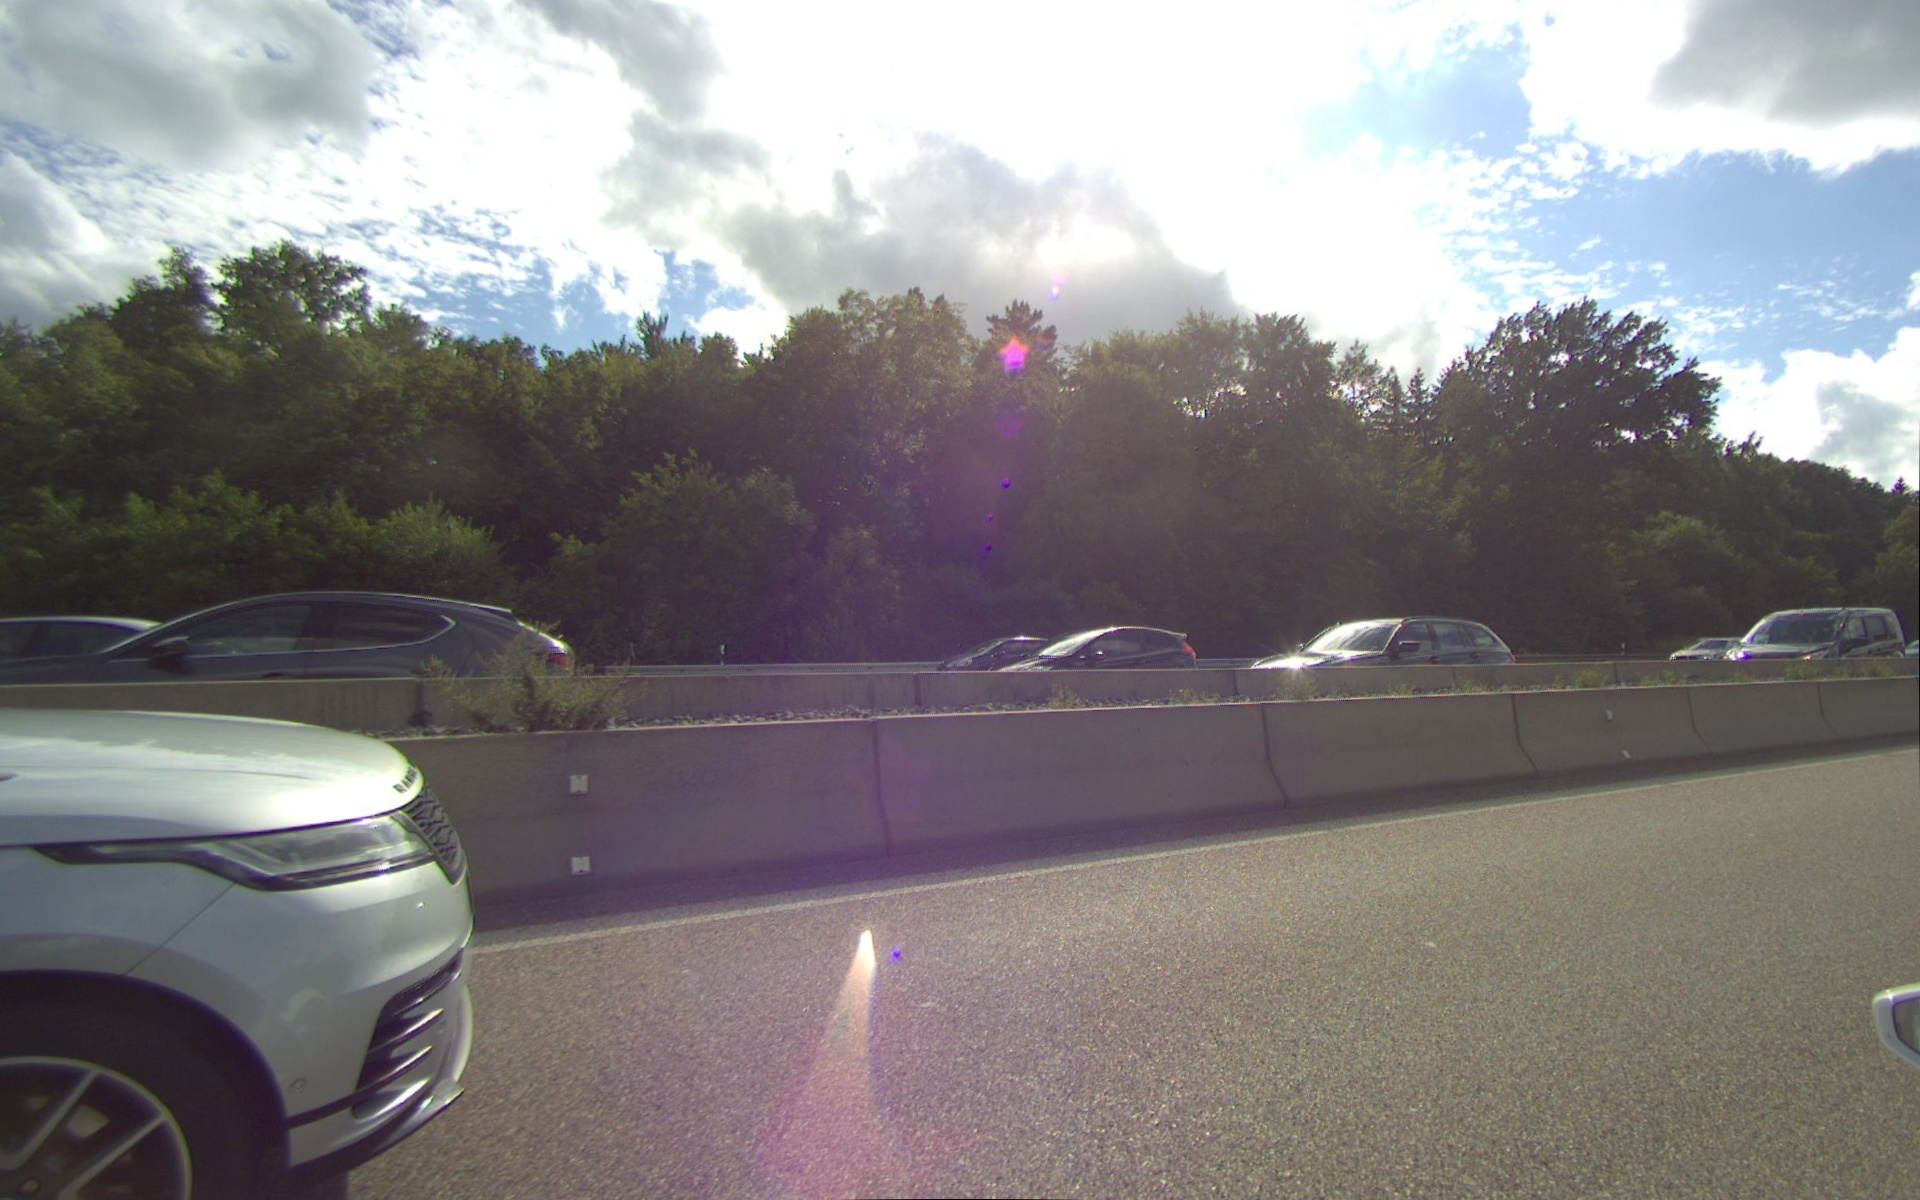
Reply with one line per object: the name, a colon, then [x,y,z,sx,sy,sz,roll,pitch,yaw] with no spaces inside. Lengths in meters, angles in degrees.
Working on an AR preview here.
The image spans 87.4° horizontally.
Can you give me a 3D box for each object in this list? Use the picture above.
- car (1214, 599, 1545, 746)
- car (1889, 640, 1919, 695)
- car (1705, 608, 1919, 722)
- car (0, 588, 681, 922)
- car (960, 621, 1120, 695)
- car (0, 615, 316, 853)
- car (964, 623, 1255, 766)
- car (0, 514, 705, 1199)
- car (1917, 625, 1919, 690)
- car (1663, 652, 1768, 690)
car: [5.954,0.996,14.175,4.405,1.782,1.985,3,-1,-29]
car: [45.037,3.078,46.109,5.264,2.405,1.985,1,0,-29]
car: [17.048,1.293,20.063,4.398,2.040,1.809,3,-1,-29]
car: [-4.566,0.961,7.529,4.405,1.930,1.985,2,-1,-29]
car: [2.440,1.758,30.341,4.405,2.040,1.985,3,-1,-29]
car: [-8.922,1.193,9.651,4.405,2.040,1.985,2,-1,-29]
car: [2.492,1.505,16.561,4.405,2.040,1.985,3,-1,-29]
car: [-3.243,0.626,1.841,5.046,1.628,1.891,2,-1,-31]
car: [28.969,1.689,28.163,4.405,1.786,1.850,3,-1,-29]
car: [32.373,3.039,43.023,5.011,1.419,1.705,3,-1,-29]
